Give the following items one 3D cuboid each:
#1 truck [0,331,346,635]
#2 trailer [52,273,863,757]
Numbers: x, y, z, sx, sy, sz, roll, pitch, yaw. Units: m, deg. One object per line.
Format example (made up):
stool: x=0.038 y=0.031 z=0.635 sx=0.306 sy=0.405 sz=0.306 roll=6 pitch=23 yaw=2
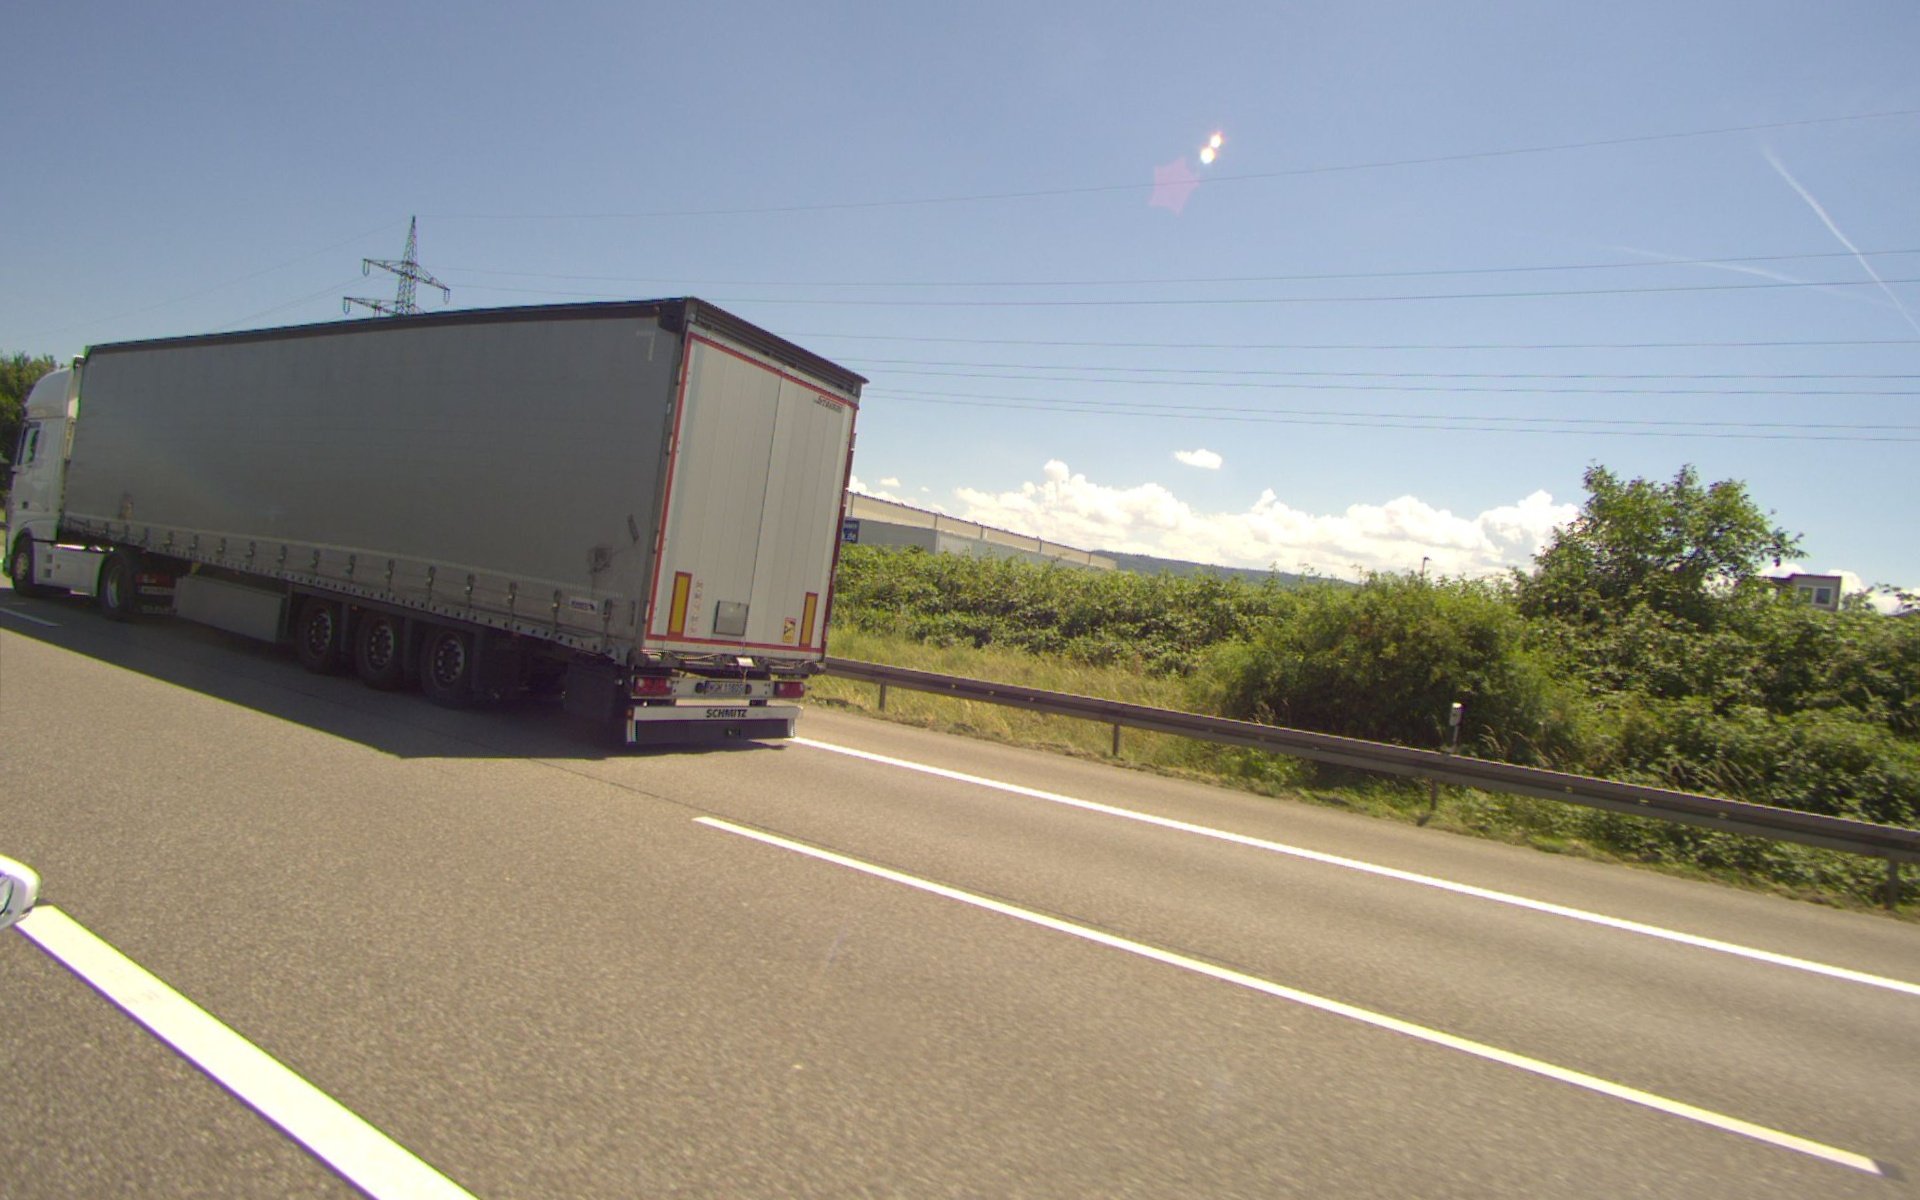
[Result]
truck: x=-13.625 y=-1.902 z=17.000 sx=6.023 sy=4.168 sz=2.740 roll=7 pitch=-1 yaw=32
trailer: x=-7.452 y=-1.212 z=13.146 sx=12.904 sy=4.155 sz=2.740 roll=6 pitch=-1 yaw=32
